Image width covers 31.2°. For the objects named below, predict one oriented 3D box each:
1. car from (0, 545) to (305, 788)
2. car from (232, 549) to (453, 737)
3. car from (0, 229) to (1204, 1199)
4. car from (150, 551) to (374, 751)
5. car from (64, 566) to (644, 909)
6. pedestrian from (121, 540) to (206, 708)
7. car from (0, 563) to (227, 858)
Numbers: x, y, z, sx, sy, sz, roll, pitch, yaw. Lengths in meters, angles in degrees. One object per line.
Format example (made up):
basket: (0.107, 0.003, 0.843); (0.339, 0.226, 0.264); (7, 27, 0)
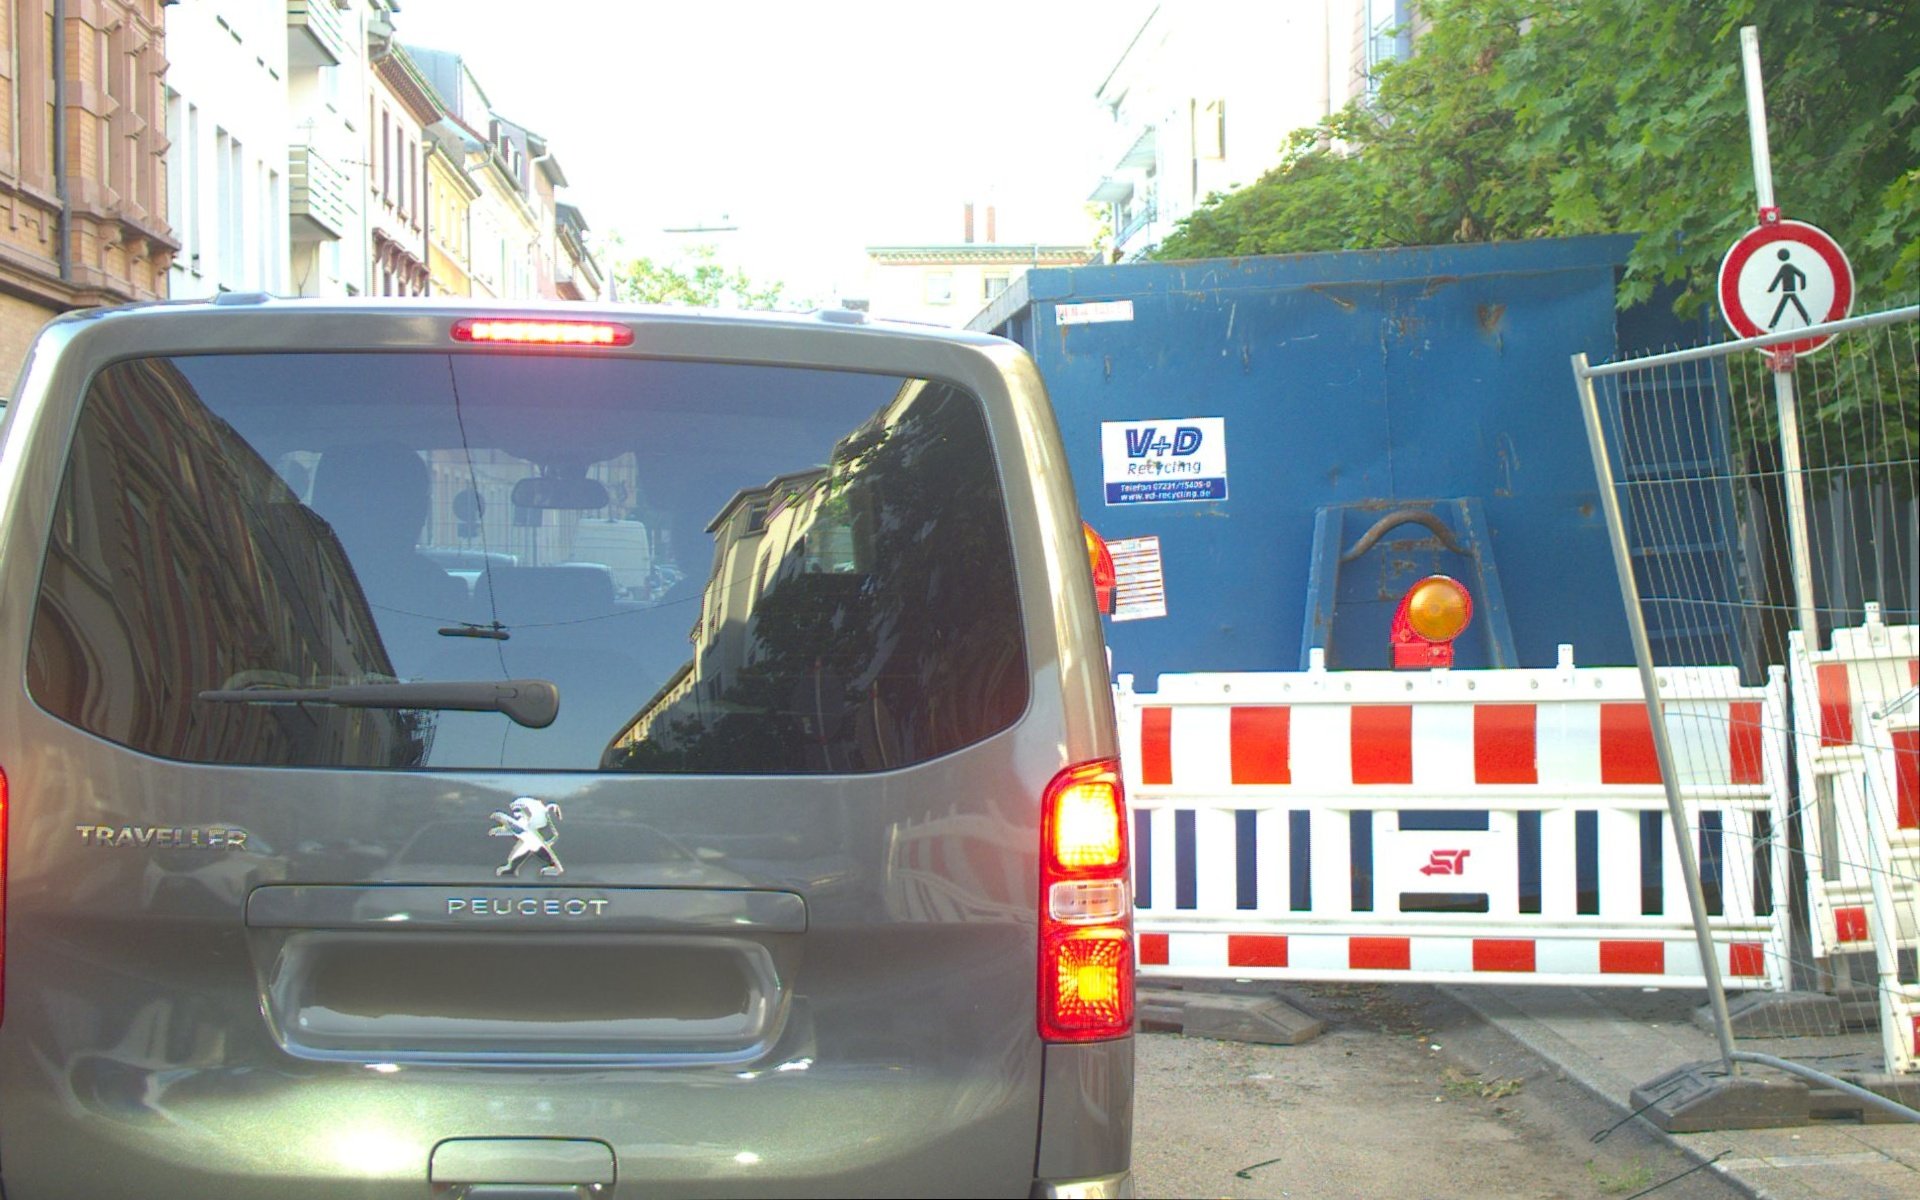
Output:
car: (-5.733, 0.441, 24.731); (1.655, 1.520, 3.418); (4, 0, -7)
car: (-6.304, 0.410, 35.457); (1.891, 1.714, 3.755); (4, 0, -7)
car: (-0.838, 0.447, 6.667); (1.865, 1.880, 4.236); (0, 0, -7)
car: (-6.406, 0.444, 31.812); (1.666, 1.660, 3.092); (4, 0, -7)
car: (-2.866, 0.578, 17.399); (1.927, 1.446, 4.811); (-1, 1, 2)
pedestrian: (-7.985, 0.230, 34.503); (0.739, 1.659, 0.704); (-1, 1, -7)
car: (-5.200, 0.544, 19.423); (1.655, 1.455, 3.418); (4, 0, -7)
